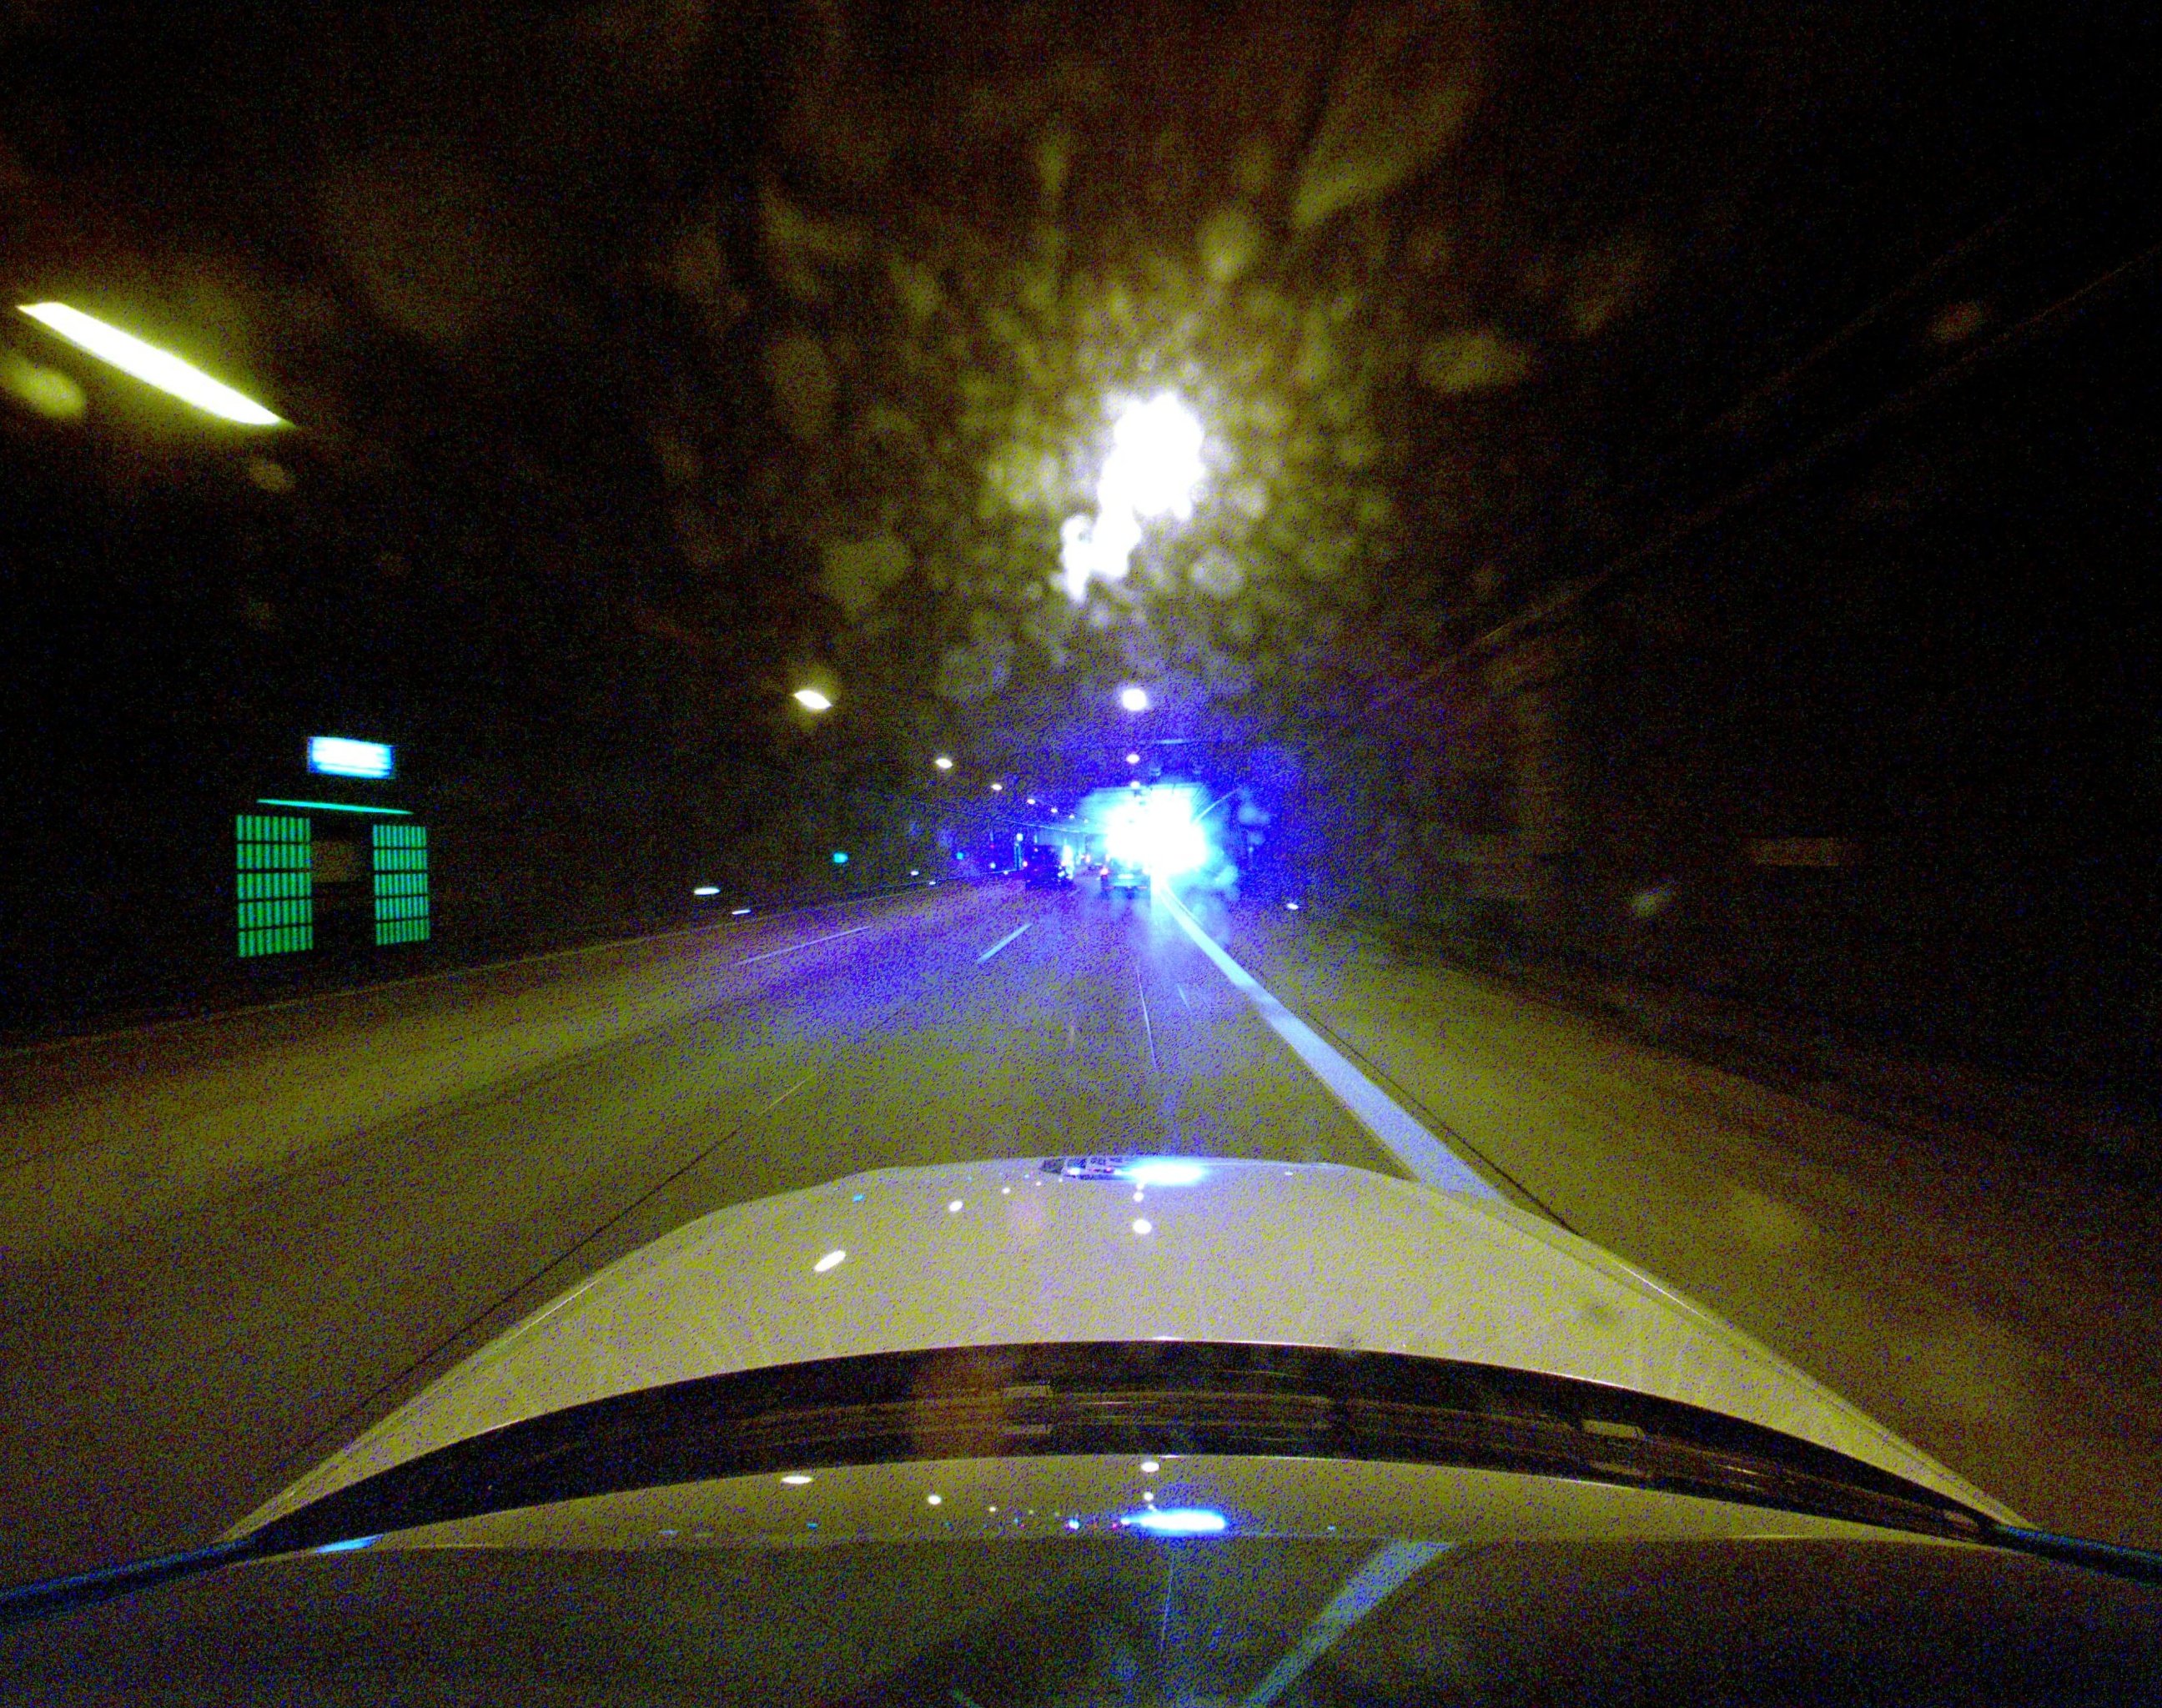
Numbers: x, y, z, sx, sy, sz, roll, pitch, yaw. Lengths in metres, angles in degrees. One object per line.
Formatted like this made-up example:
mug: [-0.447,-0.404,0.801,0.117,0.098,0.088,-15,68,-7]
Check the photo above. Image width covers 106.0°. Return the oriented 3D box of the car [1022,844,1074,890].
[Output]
car: [-1.441,0.543,37.001,1.901,1.944,3.875,-1,0,4]

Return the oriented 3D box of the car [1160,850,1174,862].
car: [12.817,0.354,121.766,1.922,1.643,4.004,-1,-2,4]

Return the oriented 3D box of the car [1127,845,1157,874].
car: [4.210,0.373,55.924,1.847,1.854,4.008,-1,0,7]

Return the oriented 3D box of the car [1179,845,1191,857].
car: [19.381,-0.592,151.520,1.981,2.014,4.010,-1,-2,10]

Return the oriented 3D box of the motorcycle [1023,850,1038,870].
motorcycle: [-3.448,0.447,55.759,0.679,1.297,2.401,-1,-2,5]

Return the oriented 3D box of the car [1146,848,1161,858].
car: [12.776,-0.143,142.749,1.979,1.632,4.014,-1,-2,13]

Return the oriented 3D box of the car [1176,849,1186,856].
car: [24.660,-0.299,200.829,1.981,1.632,4.012,-1,-2,11]

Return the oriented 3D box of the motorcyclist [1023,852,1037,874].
motorcyclist: [-3.457,0.629,55.727,0.773,1.453,1.070,-1,-3,5]

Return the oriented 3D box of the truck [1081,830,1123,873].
truck: [2.030,-0.219,74.671,3.022,3.673,7.408,-1,0,7]

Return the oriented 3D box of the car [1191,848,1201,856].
car: [24.736,-0.369,174.919,1.918,1.642,4.013,-1,0,12]

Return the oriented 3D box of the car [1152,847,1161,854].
car: [17.695,-0.782,191.636,1.919,1.642,4.010,-1,0,9]

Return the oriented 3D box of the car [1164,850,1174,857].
car: [22.238,-0.072,205.687,1.917,1.643,4.014,-1,-2,13]

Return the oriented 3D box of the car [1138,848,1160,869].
car: [6.348,0.417,75.995,1.940,1.772,4.005,-1,-2,5]

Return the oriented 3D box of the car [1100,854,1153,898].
car: [1.710,0.755,29.556,1.734,1.464,3.877,-1,0,5]
